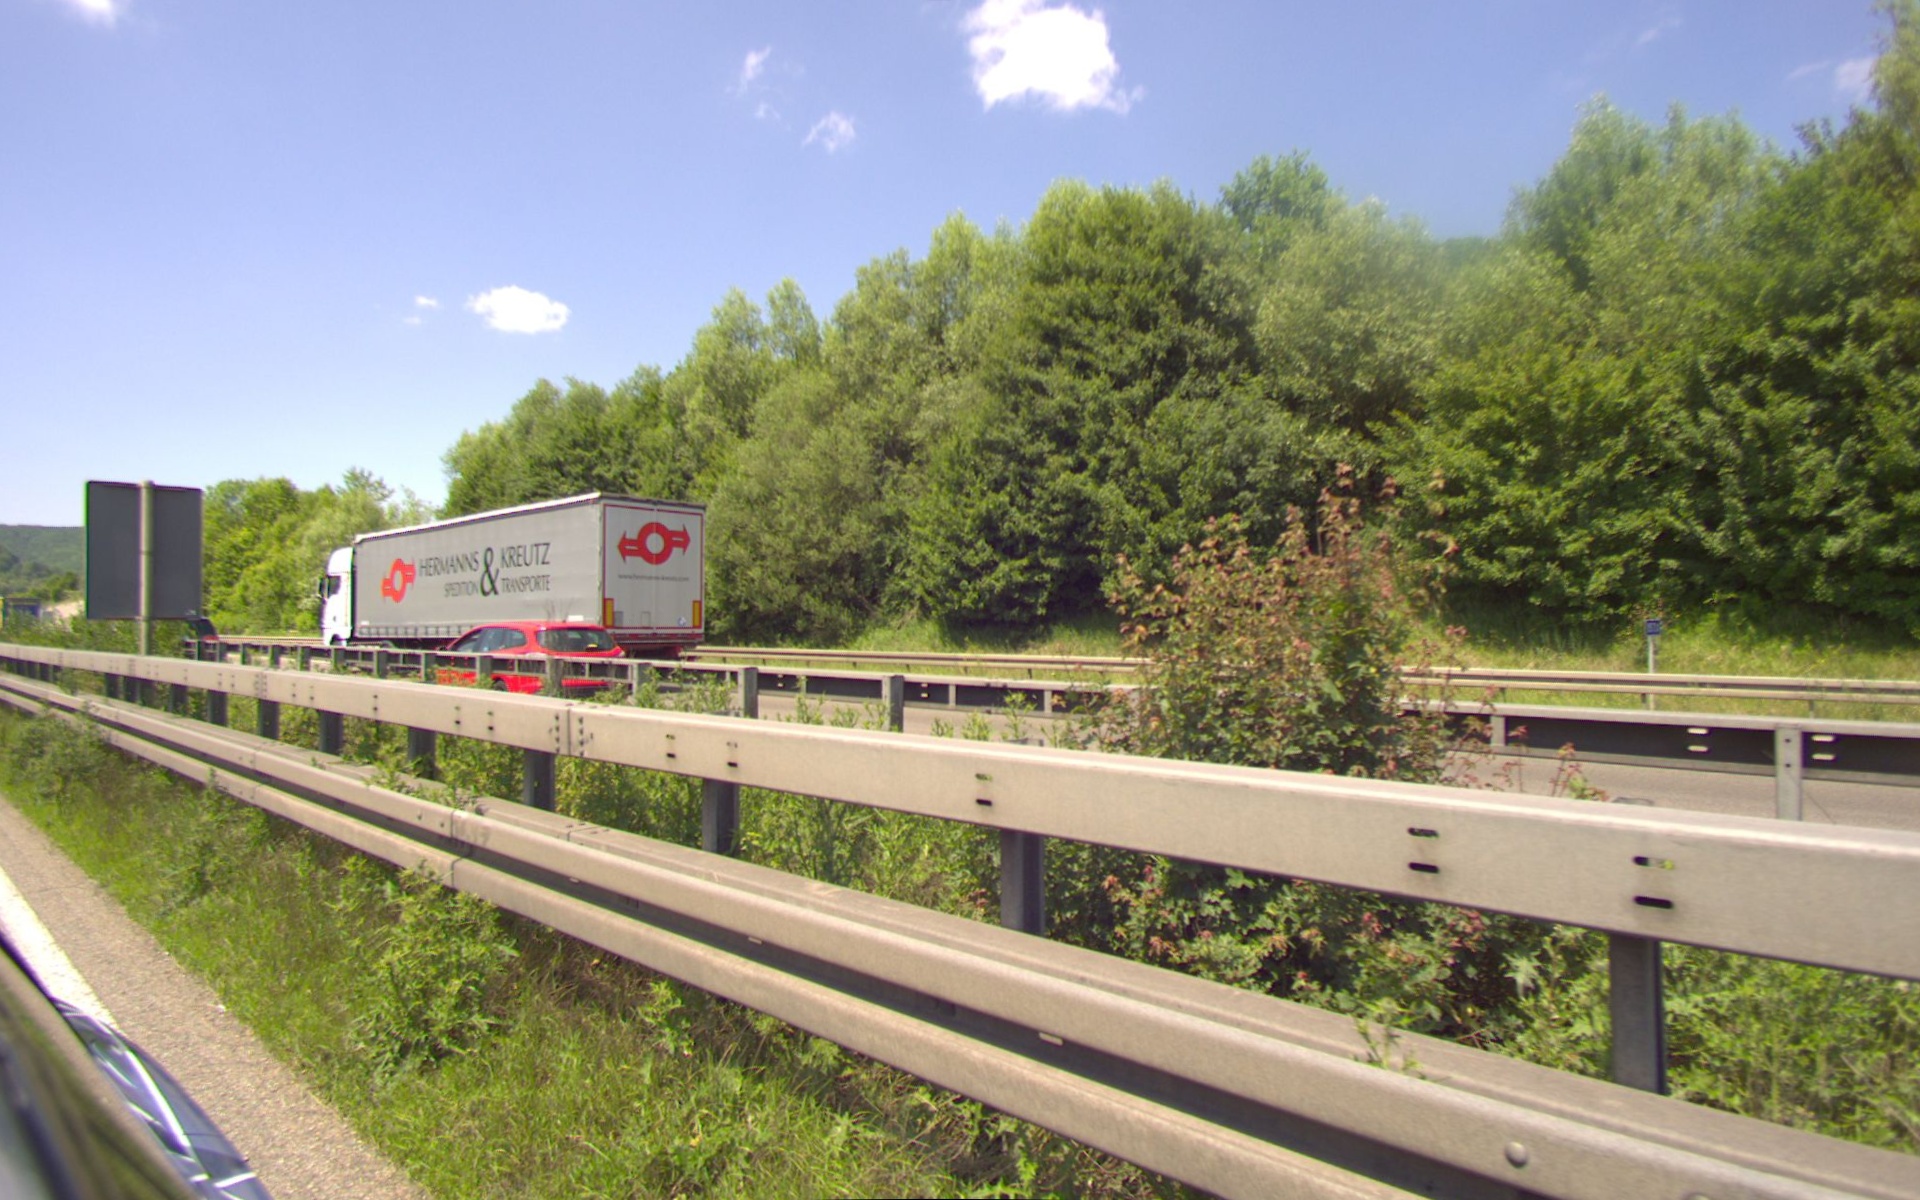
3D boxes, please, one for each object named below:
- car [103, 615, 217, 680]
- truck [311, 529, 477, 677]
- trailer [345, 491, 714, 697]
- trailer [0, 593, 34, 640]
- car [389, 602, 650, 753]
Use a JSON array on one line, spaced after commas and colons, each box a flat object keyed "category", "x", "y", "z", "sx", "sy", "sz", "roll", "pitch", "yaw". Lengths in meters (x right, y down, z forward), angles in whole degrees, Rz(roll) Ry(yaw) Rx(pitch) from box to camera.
[{"category": "car", "x": -24.622, "y": 1.407, "z": 31.100, "sx": 4.597, "sy": 1.810, "sz": 1.902, "roll": -2, "pitch": -1, "yaw": 40}, {"category": "truck", "x": -17.080, "y": 0.170, "z": 30.437, "sx": 5.367, "sy": 4.032, "sz": 2.699, "roll": -2, "pitch": -2, "yaw": 42}, {"category": "trailer", "x": -11.527, "y": 0.015, "z": 25.500, "sx": 14.153, "sy": 4.030, "sz": 2.753, "roll": -2, "pitch": -1, "yaw": 42}, {"category": "trailer", "x": -86.233, "y": 1.565, "z": 91.452, "sx": 12.597, "sy": 4.035, "sz": 2.553, "roll": -2, "pitch": -1, "yaw": 42}, {"category": "car", "x": -6.934, "y": 1.089, "z": 15.753, "sx": 4.330, "sy": 2.029, "sz": 1.974, "roll": -2, "pitch": -1, "yaw": 39}]
